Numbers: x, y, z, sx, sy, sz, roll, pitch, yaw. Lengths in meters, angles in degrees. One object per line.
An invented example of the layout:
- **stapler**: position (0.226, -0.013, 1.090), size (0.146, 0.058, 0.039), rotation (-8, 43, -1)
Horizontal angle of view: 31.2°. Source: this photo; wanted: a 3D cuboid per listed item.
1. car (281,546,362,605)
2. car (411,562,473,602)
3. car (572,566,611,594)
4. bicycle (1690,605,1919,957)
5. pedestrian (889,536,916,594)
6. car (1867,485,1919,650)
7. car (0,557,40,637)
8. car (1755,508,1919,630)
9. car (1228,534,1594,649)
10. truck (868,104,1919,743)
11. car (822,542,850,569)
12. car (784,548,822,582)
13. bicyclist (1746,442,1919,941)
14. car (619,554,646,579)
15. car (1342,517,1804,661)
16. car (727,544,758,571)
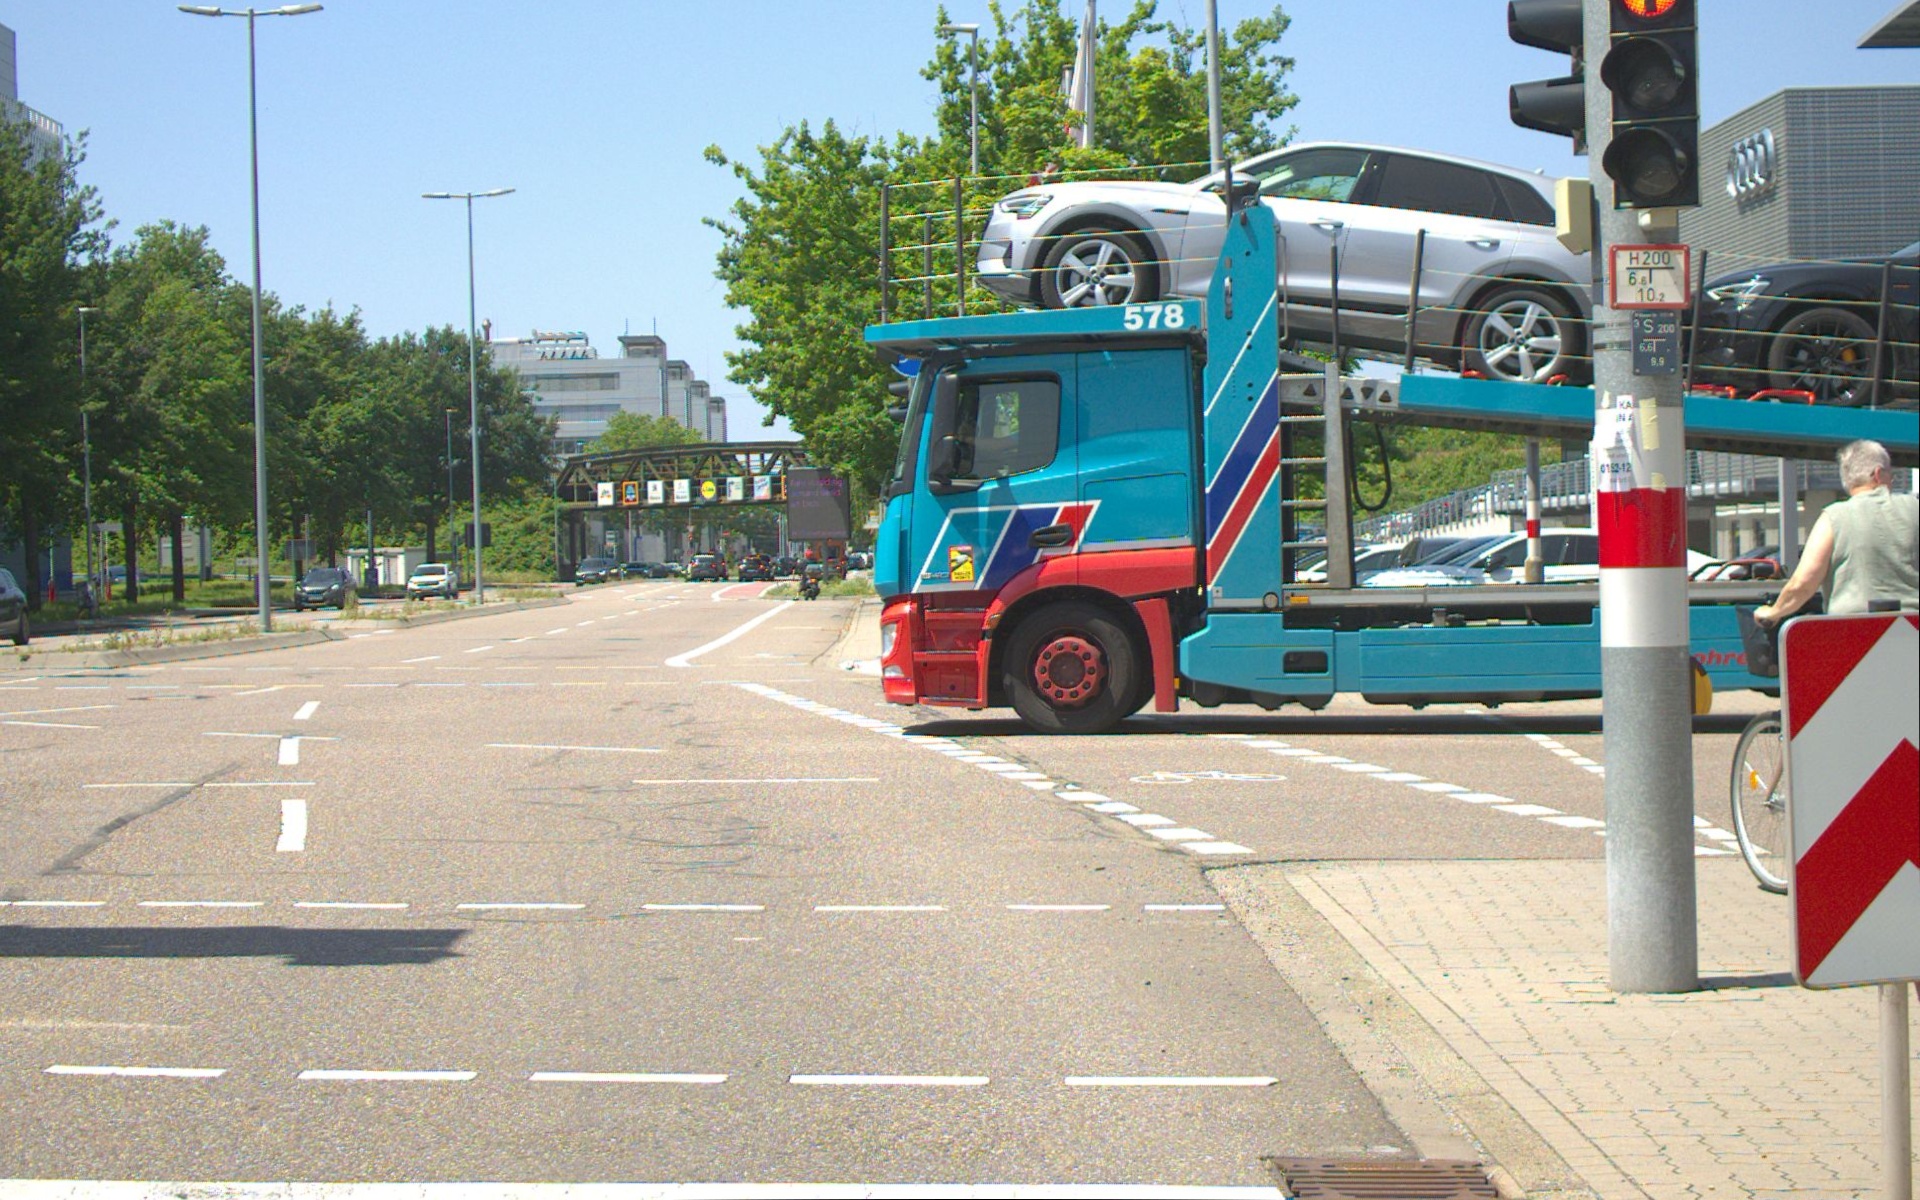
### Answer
- **car**: position (-23.015, -0.851, 124.018), size (1.994, 2.007, 3.999), rotation (-1, -1, 2)
- **car**: position (-22.533, -0.786, 149.634), size (1.926, 1.659, 4.089), rotation (-2, 1, 1)
- **car**: position (-20.180, -1.119, 188.230), size (1.732, 1.422, 3.706), rotation (-3, 1, -1)
- **bicycle**: position (3.338, 0.611, 12.541), size (0.786, 1.123, 1.921), rotation (0, 2, -5)
- **pedestrian**: position (-1.498, -0.916, 90.200), size (0.668, 1.505, 0.736), rotation (-1, 1, -1)
- **car**: position (10.530, -0.332, 33.781), size (1.993, 1.634, 4.269), rotation (-1, 2, -1)
- **car**: position (-20.173, -0.047, 69.774), size (1.875, 1.593, 4.497), rotation (-2, 1, -1)
- **car**: position (15.957, -0.564, 59.262), size (3.987, 2.007, 2.000), rotation (-1, 1, 0)
- **car**: position (6.225, -0.135, 47.813), size (4.741, 1.452, 2.000), rotation (-1, 2, -3)
- **truck**: position (4.886, -1.220, 24.114), size (10.620, 4.068, 3.100), rotation (-1, 2, 7)
- **car**: position (-8.060, -2.893, 224.128), size (1.772, 1.722, 4.000), rotation (-2, 1, -1)
- **car**: position (-5.021, -1.131, 109.898), size (1.137, 1.038, 2.308), rotation (-1, 1, -1)
- **bicyclist**: position (3.321, 0.310, 12.400), size (0.733, 1.743, 0.754), rotation (0, 1, -5)
- **car**: position (-22.537, -2.314, 236.625), size (1.648, 1.647, 4.164), rotation (-1, 1, -4)
- **car**: position (6.708, -0.140, 37.979), size (4.741, 1.452, 2.000), rotation (-1, 2, 1)
- **car**: position (-14.208, -2.756, 224.663), size (1.772, 1.722, 4.000), rotation (-2, 1, -1)
